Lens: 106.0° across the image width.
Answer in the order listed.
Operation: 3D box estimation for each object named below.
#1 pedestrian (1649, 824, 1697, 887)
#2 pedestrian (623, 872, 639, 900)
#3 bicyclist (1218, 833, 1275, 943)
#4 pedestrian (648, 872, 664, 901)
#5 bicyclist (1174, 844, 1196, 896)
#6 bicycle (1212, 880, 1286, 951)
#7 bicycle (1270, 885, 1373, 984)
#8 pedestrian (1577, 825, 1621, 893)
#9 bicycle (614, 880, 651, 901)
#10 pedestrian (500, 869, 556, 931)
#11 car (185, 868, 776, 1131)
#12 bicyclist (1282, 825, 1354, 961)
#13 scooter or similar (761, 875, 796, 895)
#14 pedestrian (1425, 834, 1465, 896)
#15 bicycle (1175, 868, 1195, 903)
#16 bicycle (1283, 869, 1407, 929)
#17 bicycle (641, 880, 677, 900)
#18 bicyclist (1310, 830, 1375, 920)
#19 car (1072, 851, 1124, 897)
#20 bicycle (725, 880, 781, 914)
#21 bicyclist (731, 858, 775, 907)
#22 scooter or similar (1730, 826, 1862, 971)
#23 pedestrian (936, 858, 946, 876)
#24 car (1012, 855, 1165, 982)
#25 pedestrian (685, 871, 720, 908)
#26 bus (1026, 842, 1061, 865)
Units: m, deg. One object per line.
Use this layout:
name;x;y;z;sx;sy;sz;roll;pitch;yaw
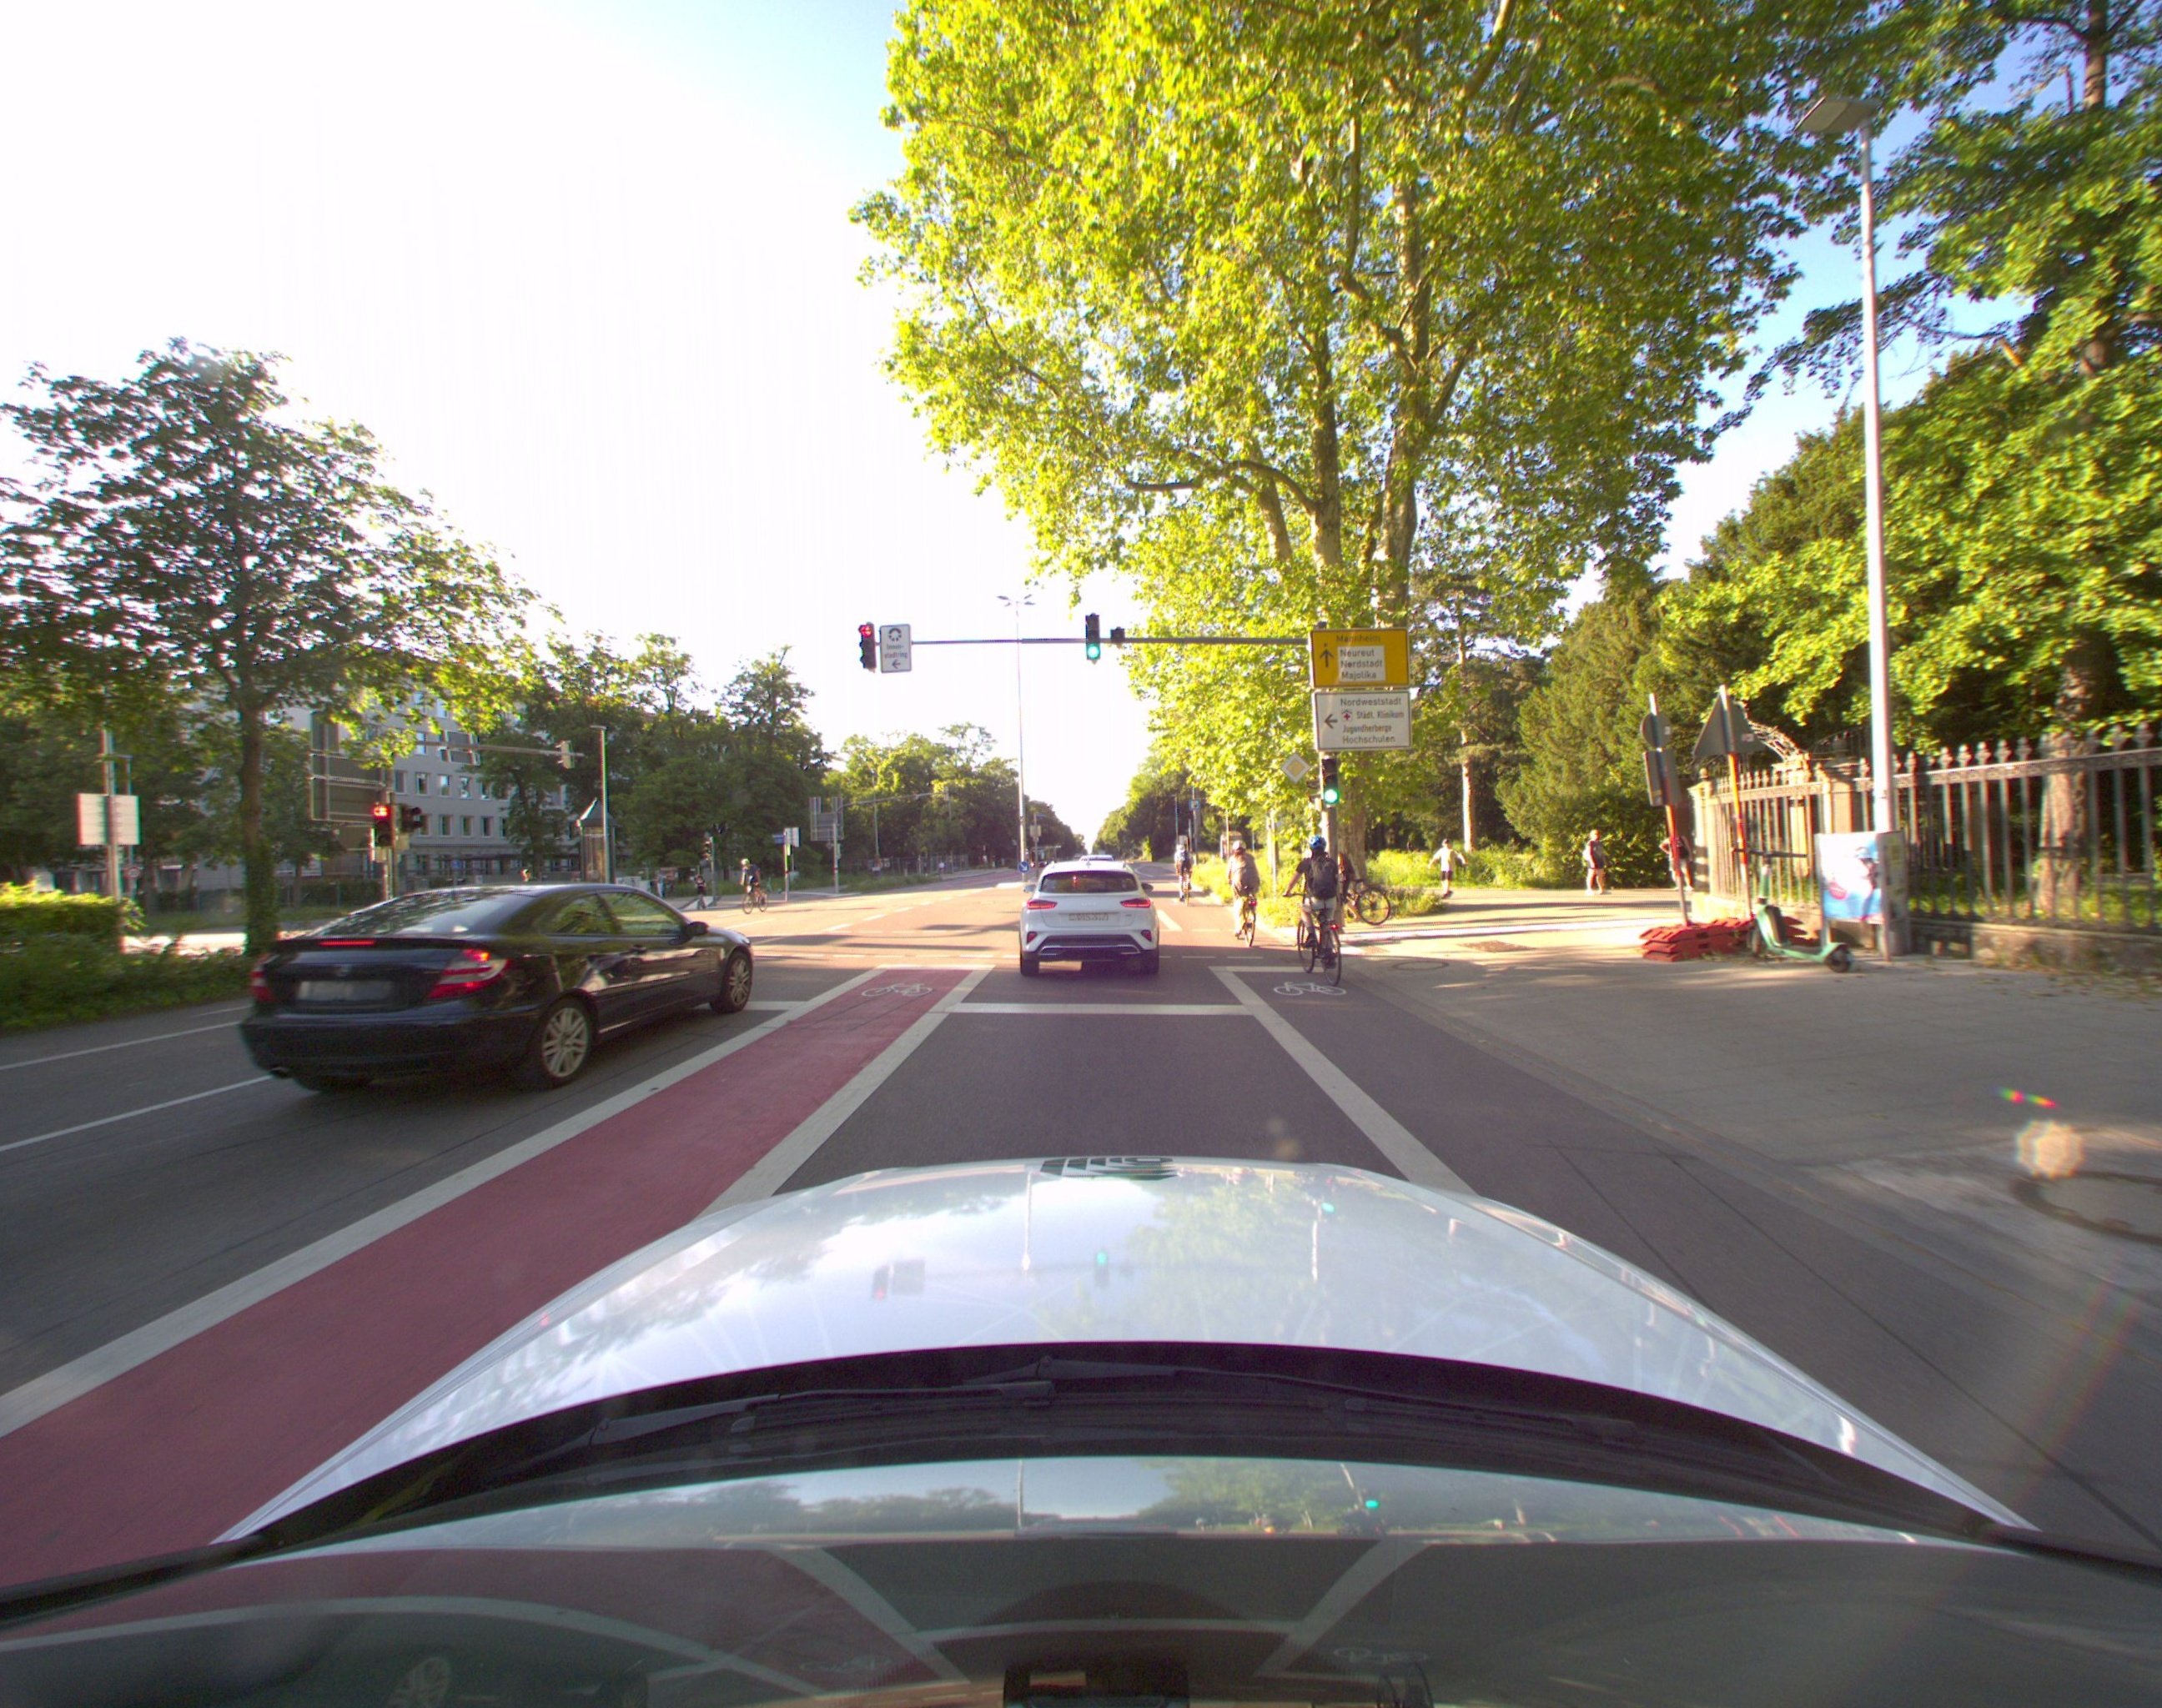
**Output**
pedestrian;16.199;0.053;22.312;0.819;1.681;0.696;-2;-1;16
pedestrian;-26.322;1.865;47.595;0.628;1.642;0.444;-3;0;-8
bicyclist;2.808;0.553;13.949;0.750;1.796;1.165;0;0;1
pedestrian;-24.487;1.869;46.969;0.628;1.580;0.444;-3;0;-8
bicyclist;3.035;0.461;23.865;0.552;1.478;0.717;-1;-1;1
bicycle;2.810;0.988;13.893;0.755;1.013;2.570;0;0;1
bicycle;2.902;0.933;10.053;0.666;1.009;2.081;-1;0;1
pedestrian;13.200;0.124;20.777;0.686;1.699;0.644;-1;-1;2
bicycle;-26.113;2.131;47.430;1.858;1.148;0.442;-1;-1;-5
pedestrian;-18.692;1.545;27.566;0.989;2.014;1.193;-1;-1;7
car;-4.356;0.899;6.943;1.698;1.405;4.267;-3;0;2
bicyclist;2.894;0.457;10.003;0.663;1.602;0.721;-1;0;0
scooter or similar;-18.404;1.885;49.512;0.703;1.124;1.933;-2;-1;35
pedestrian;9.259;0.283;20.693;0.810;1.518;0.922;-2;-1;28
bicycle;3.043;0.911;23.870;0.400;0.956;1.551;-1;-1;2
bicycle;4.976;0.828;15.381;2.093;0.976;0.748;-3;0;-11
bicycle;-24.464;2.081;47.185;1.858;1.148;0.290;-1;-1;-5
bicyclist;4.919;0.388;15.375;0.847;1.613;0.733;-3;0;-11
car;0.594;0.697;29.439;1.723;1.483;3.517;-3;0;0
bicycle;-11.181;1.448;27.853;0.660;0.989;2.507;-3;0;4
bicyclist;-11.204;0.959;27.854;0.871;1.608;1.189;-3;0;4
scooter or similar;7.060;0.412;8.095;0.227;1.327;1.172;-3;0;1
pedestrian;-14.359;1.345;83.592;0.781;1.785;0.752;-1;-1;2
car;0.120;0.786;11.860;1.815;1.480;3.936;-2;0;1
pedestrian;-17.379;1.624;37.416;1.086;1.603;1.000;-3;0;-5
bus;-6.500;-0.166;143.113;3.721;3.673;13.267;-3;0;7
